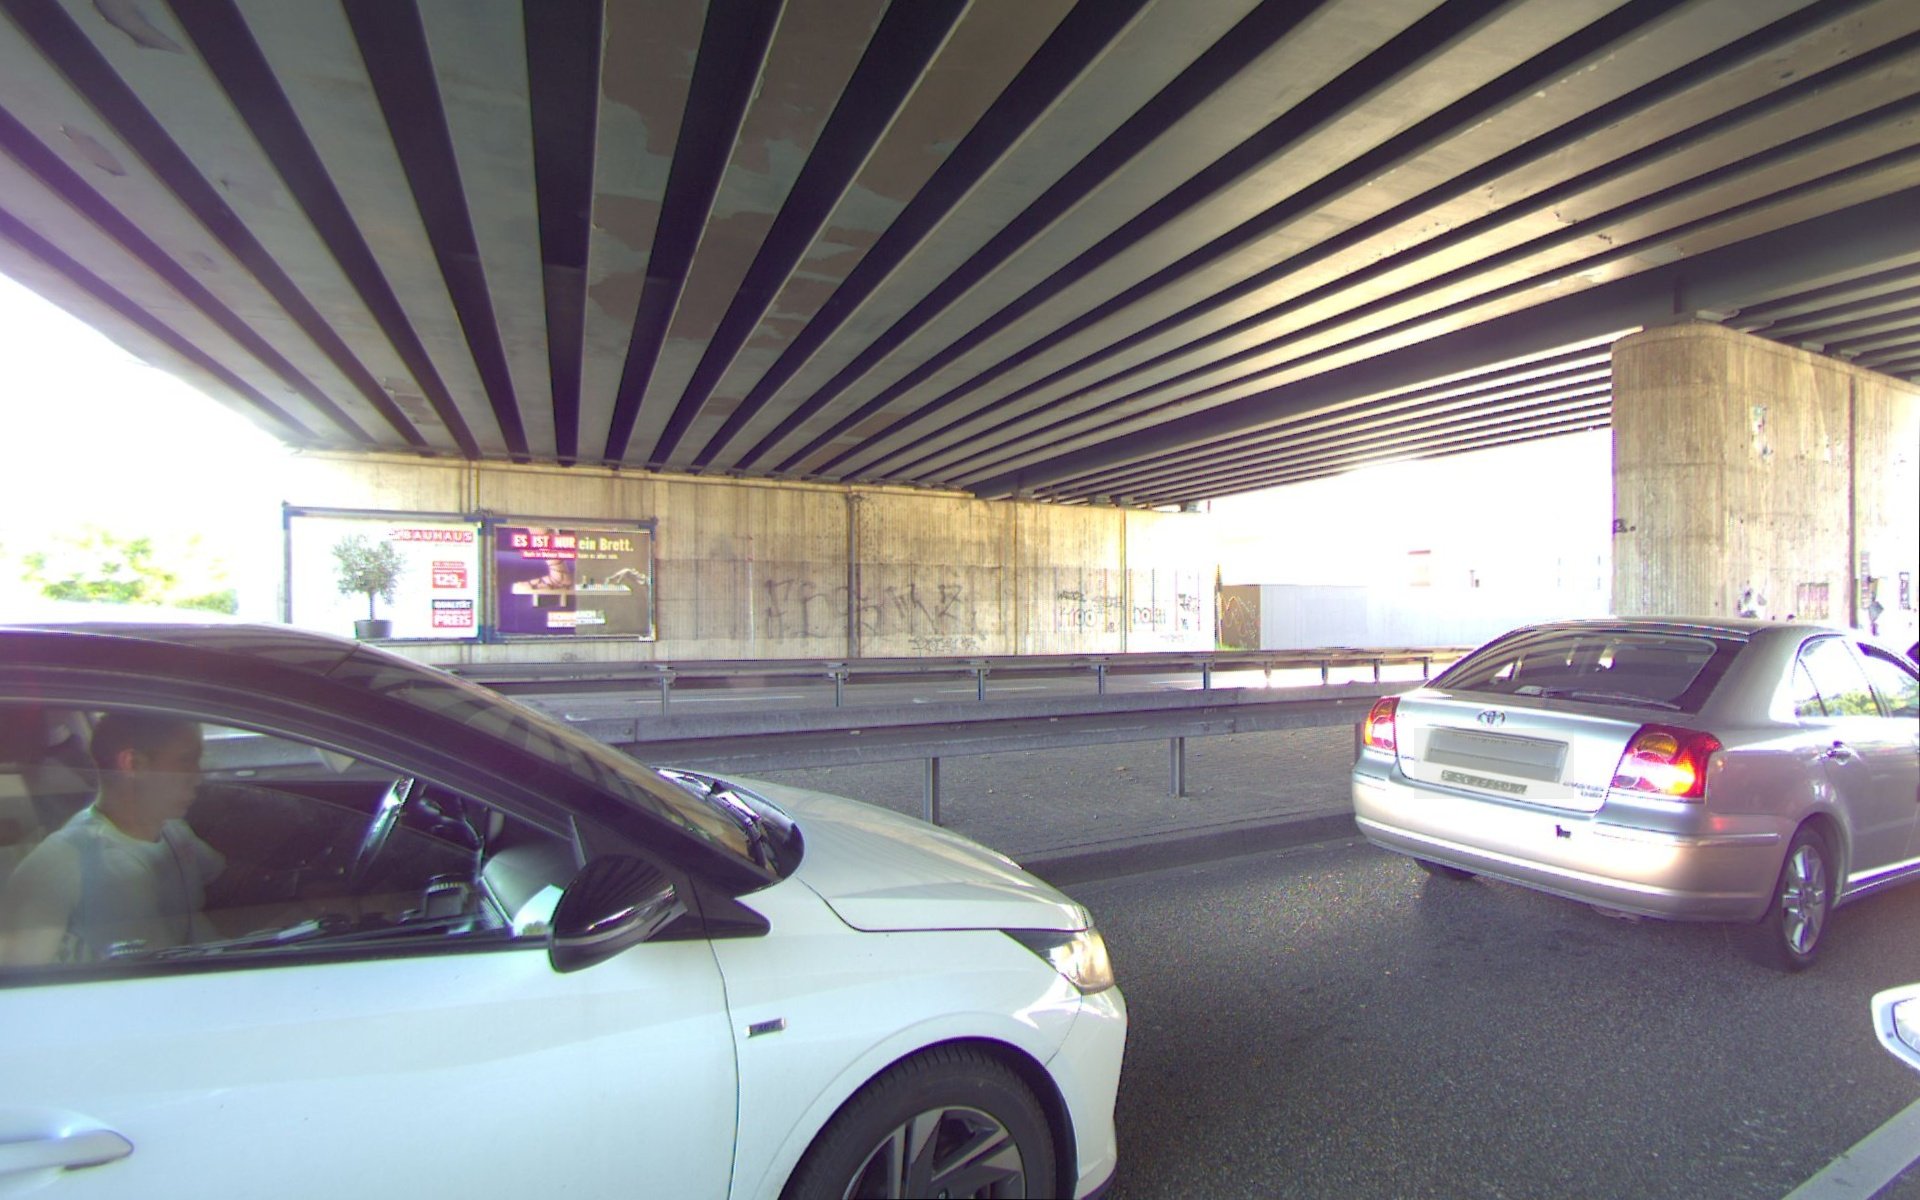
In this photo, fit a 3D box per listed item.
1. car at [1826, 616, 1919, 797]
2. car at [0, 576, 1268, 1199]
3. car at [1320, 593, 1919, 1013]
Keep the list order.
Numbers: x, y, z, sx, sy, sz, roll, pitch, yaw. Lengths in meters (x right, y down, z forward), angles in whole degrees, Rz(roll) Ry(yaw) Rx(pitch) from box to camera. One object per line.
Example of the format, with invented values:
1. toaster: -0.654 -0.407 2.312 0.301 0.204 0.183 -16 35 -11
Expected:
1. car: 9.537 0.885 8.861 3.687 1.457 1.804 0 0 -31
2. car: -1.429 0.728 1.964 3.946 1.499 1.724 1 -1 -32
3. car: 4.080 0.771 5.456 4.270 1.499 1.724 1 -1 -32
